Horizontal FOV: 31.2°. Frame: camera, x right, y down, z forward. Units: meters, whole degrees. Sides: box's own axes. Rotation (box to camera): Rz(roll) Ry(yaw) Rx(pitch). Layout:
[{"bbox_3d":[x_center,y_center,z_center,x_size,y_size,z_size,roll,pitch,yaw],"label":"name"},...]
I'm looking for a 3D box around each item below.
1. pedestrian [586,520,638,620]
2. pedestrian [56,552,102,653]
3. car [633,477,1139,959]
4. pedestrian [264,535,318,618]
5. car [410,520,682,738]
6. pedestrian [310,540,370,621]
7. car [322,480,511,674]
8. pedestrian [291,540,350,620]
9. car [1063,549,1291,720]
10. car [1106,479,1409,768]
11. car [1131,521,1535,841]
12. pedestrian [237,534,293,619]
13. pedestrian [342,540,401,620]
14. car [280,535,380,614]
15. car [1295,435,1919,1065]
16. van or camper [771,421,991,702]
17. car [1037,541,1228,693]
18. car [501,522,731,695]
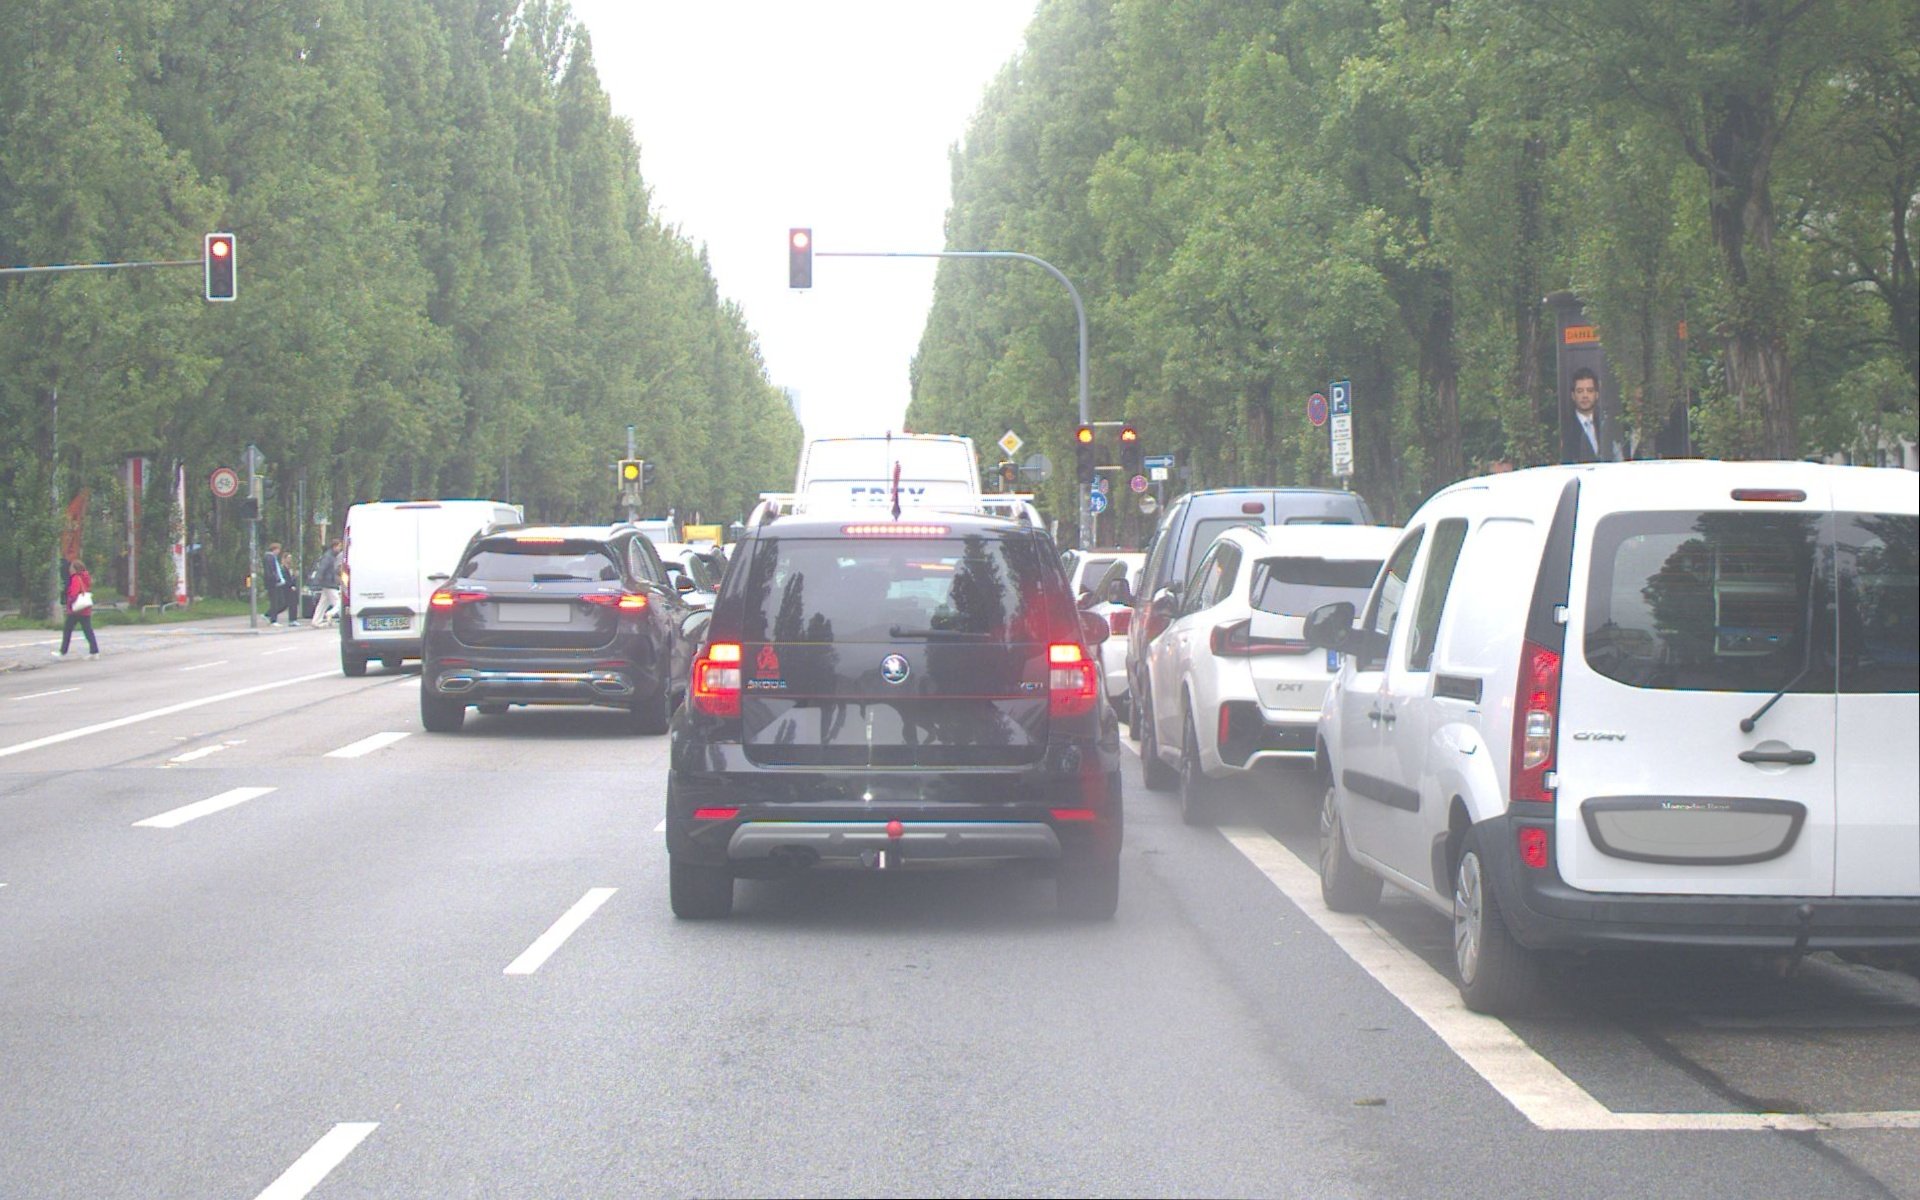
[{"bbox_3d":[-7.084,-0.611,69.957,0.885,2.007,1.013,-1,1,2],"label":"pedestrian"},{"bbox_3d":[-13.064,0.035,51.004,0.517,1.480,0.536,-1,1,0],"label":"pedestrian"},{"bbox_3d":[-0.308,0.404,14.857,1.855,1.764,4.000,1,1,-1],"label":"car"},{"bbox_3d":[-14.315,-0.513,73.576,0.880,1.758,0.878,-1,1,9],"label":"pedestrian"},{"bbox_3d":[-3.284,0.170,27.928,1.781,1.614,4.025,1,1,-1],"label":"car"},{"bbox_3d":[-12.796,-0.407,70.939,0.880,1.649,0.878,-2,1,-38],"label":"pedestrian"},{"bbox_3d":[-6.248,-0.291,39.874,1.781,2.104,4.025,-1,1,-4],"label":"car"},{"bbox_3d":[-13.340,-0.419,71.692,0.880,1.649,0.878,-2,1,-38],"label":"pedestrian"},{"bbox_3d":[1.887,0.265,30.860,1.735,1.382,3.563,-1,1,-1],"label":"car"},{"bbox_3d":[2.060,0.108,24.782,1.735,1.888,4.025,-1,1,-1],"label":"car"},{"bbox_3d":[1.996,0.362,19.510,1.741,1.587,4.212,-1,1,-1],"label":"car"},{"bbox_3d":[-14.684,-0.503,72.630,0.880,1.758,0.878,-1,1,9],"label":"pedestrian"},{"bbox_3d":[-12.403,-0.424,72.461,0.880,1.649,0.878,-2,1,-38],"label":"pedestrian"},{"bbox_3d":[-14.774,-0.620,80.766,1.688,1.776,3.775,-1,1,-1],"label":"car"},{"bbox_3d":[2.408,0.397,12.420,1.851,1.875,4.169,-1,1,-2],"label":"car"},{"bbox_3d":[-0.818,-0.399,33.480,1.975,2.539,4.025,-1,1,-3],"label":"van or camper"},{"bbox_3d":[1.765,0.140,36.160,1.735,1.470,3.563,-1,1,-1],"label":"car"},{"bbox_3d":[-3.355,0.034,34.219,1.993,1.555,4.001,-1,2,-2],"label":"car"}]
